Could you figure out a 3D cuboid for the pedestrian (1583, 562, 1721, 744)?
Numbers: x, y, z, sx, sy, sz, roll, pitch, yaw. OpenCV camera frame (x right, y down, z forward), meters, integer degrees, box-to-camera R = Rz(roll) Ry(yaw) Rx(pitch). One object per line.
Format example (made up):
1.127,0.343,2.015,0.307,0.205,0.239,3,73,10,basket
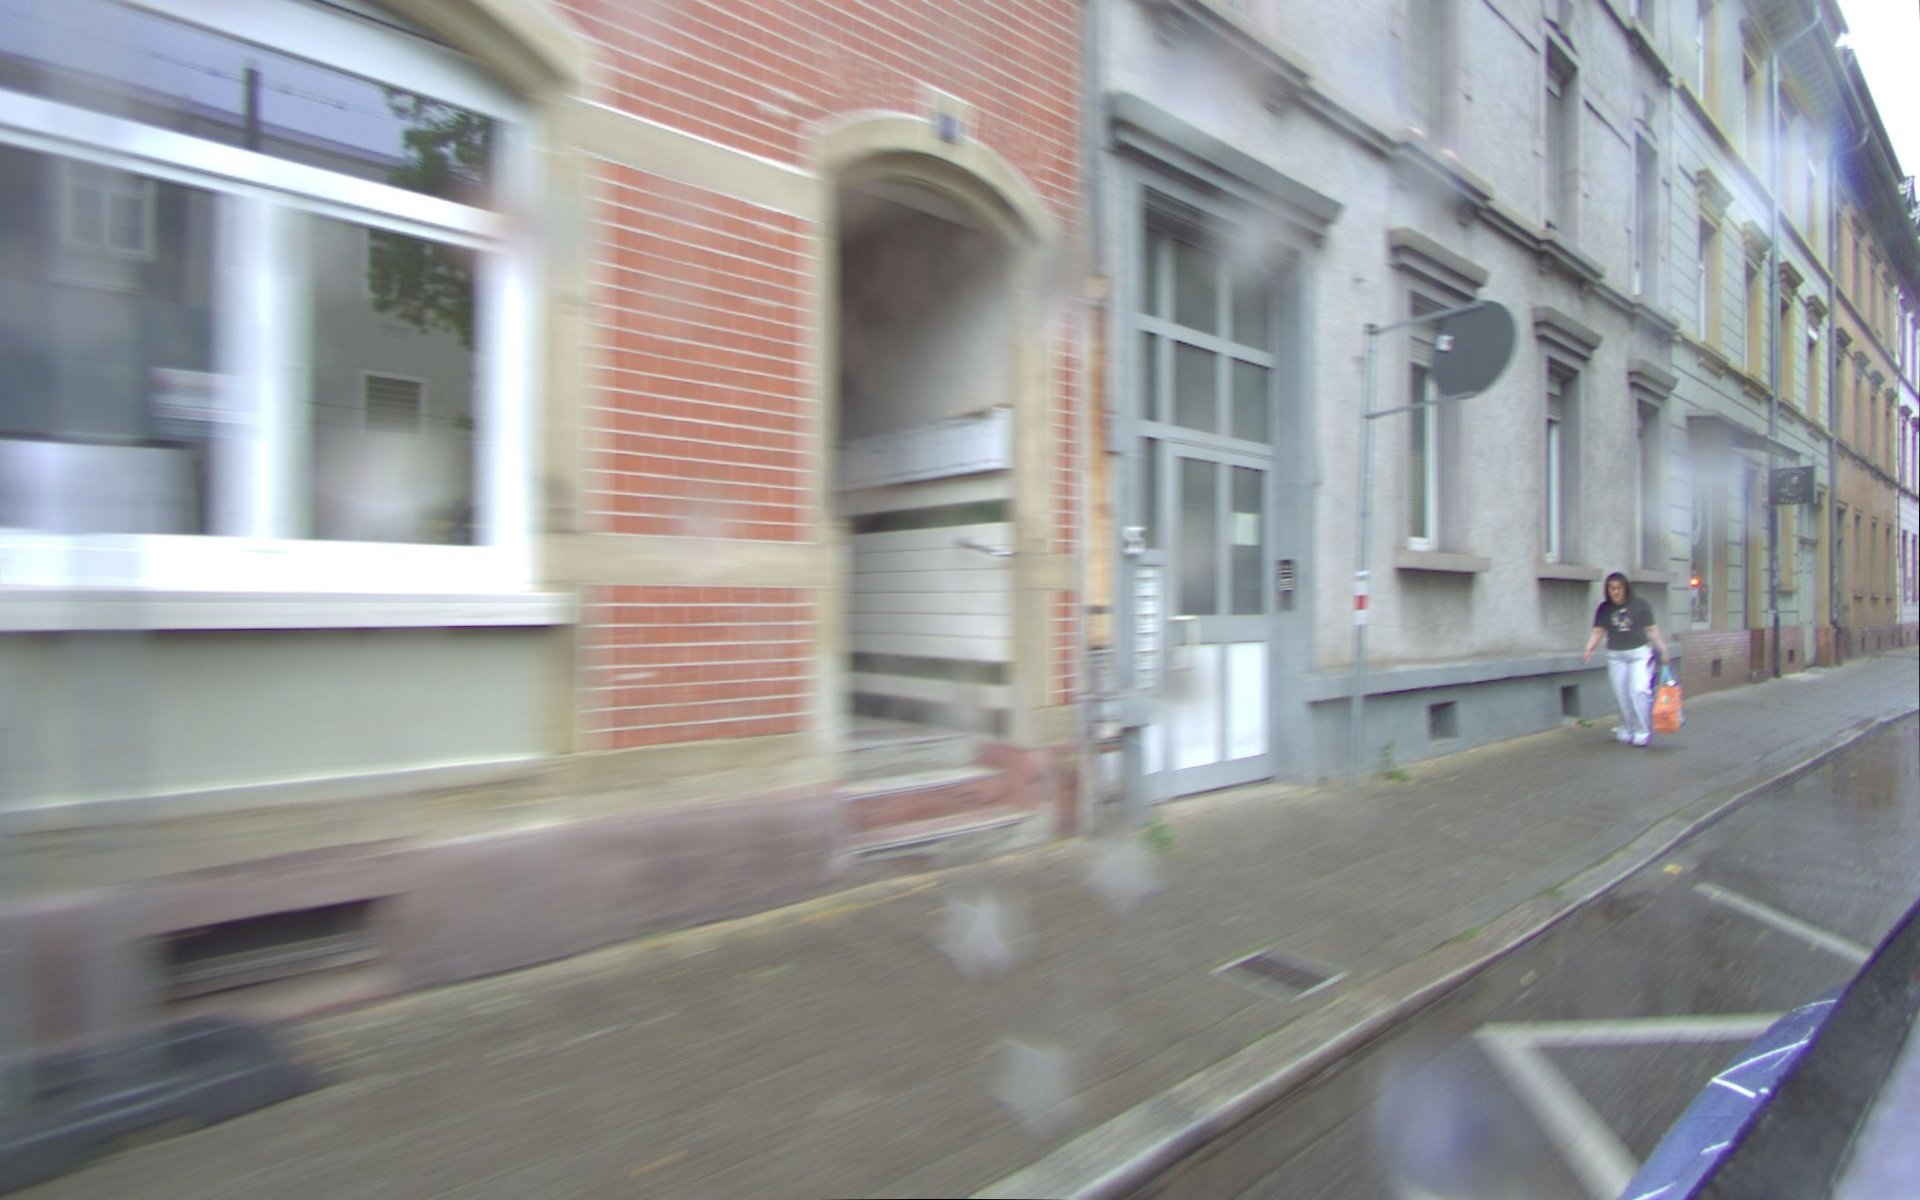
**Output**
6.511,0.466,9.545,0.566,1.592,0.849,1,4,-40,pedestrian
